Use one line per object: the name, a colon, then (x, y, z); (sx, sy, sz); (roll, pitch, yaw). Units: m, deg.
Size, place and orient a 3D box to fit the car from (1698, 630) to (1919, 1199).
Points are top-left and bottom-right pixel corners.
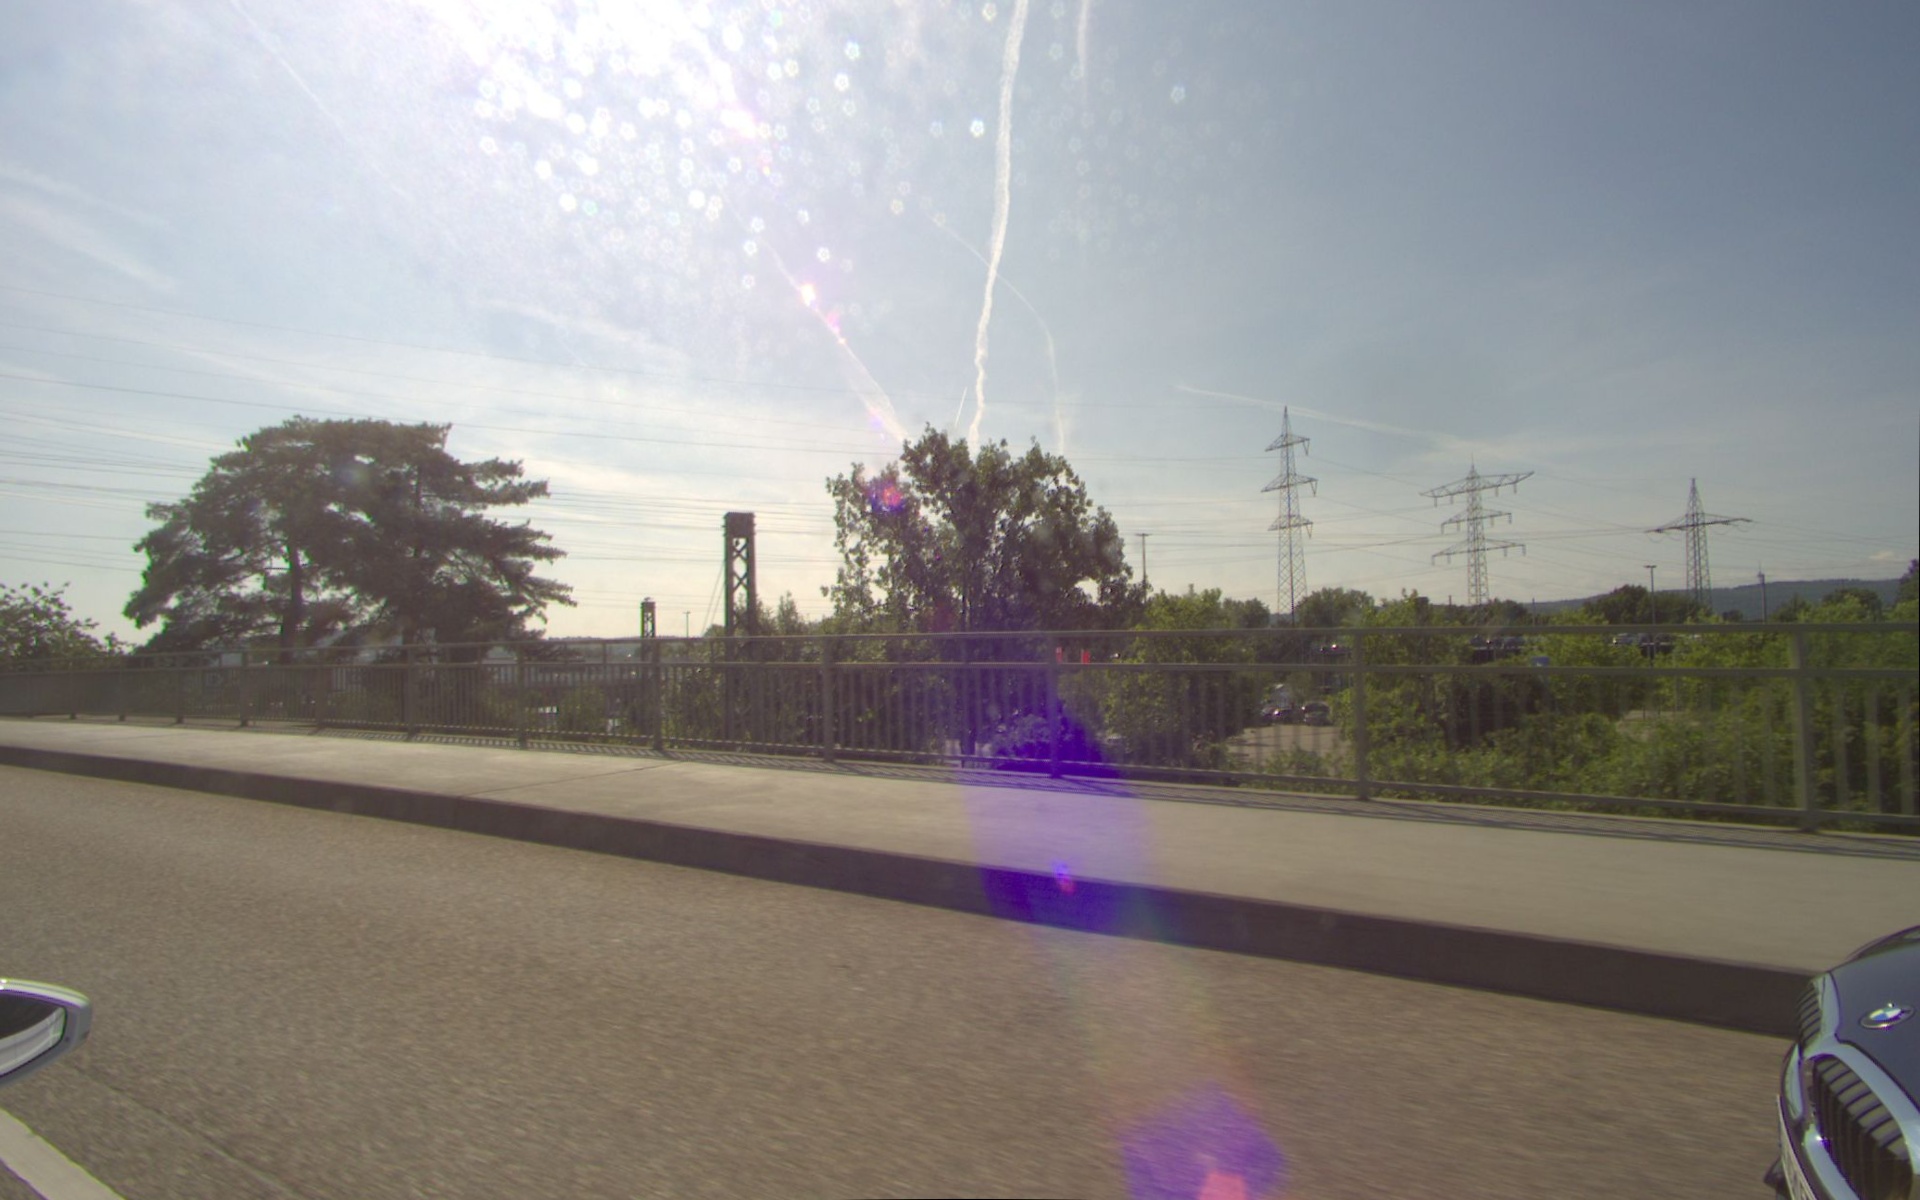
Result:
car: (3.352, 0.689, 0.626); (4.458, 1.501, 1.784); (-4, -4, 33)
